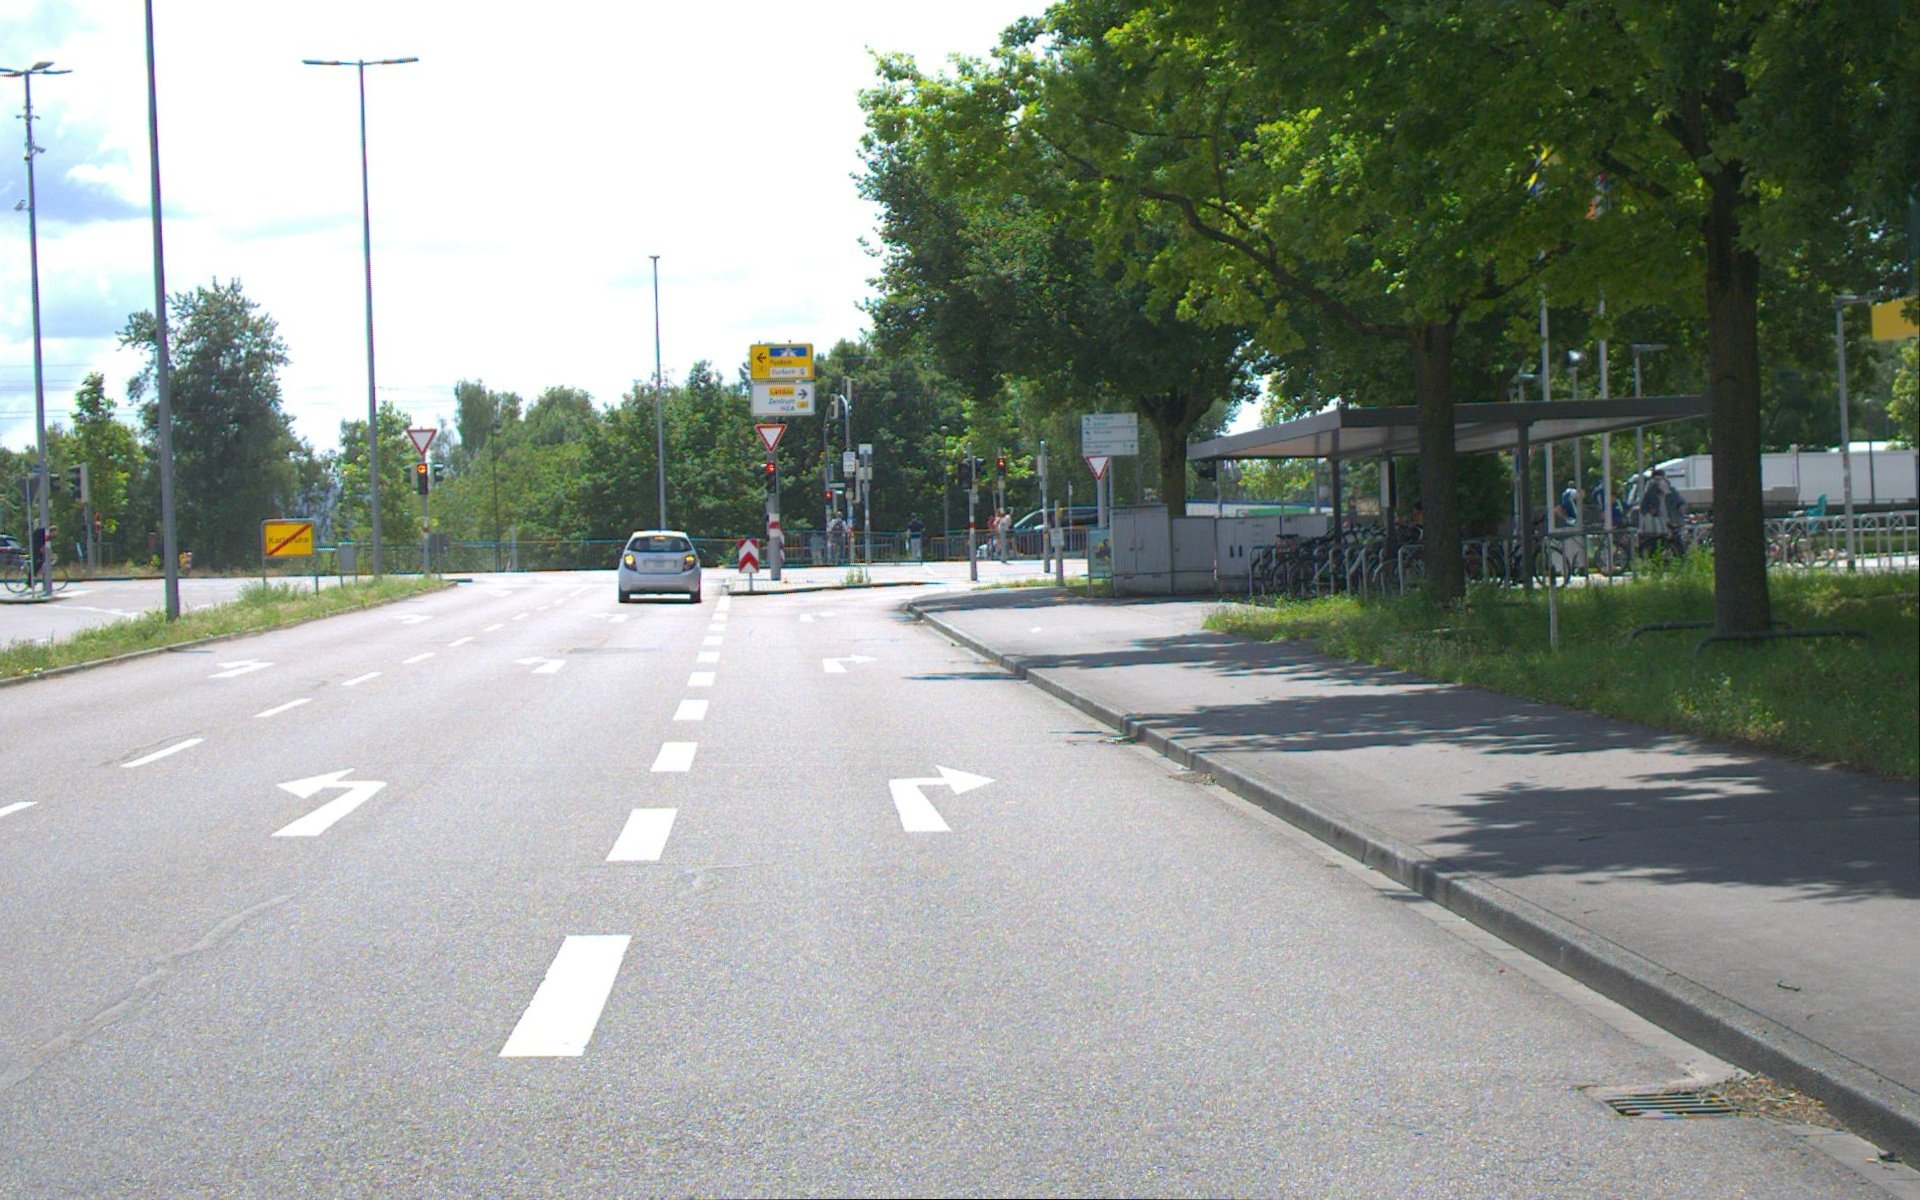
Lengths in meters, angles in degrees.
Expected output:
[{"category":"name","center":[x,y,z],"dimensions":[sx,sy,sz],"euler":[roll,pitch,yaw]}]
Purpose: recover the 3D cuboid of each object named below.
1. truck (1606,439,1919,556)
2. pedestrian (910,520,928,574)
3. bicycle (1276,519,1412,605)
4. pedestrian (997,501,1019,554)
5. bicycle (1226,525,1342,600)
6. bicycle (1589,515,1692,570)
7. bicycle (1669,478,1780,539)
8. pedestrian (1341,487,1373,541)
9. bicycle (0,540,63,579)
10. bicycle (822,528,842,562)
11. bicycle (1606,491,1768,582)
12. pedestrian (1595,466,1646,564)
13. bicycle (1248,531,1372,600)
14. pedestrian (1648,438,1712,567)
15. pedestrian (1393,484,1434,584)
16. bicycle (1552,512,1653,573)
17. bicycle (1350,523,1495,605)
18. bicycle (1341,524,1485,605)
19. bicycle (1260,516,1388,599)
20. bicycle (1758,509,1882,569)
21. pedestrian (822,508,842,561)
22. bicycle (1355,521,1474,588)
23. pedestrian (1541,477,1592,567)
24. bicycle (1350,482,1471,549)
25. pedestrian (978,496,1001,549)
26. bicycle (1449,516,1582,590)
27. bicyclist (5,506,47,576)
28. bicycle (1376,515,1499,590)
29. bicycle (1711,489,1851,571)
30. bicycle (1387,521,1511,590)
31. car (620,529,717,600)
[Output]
[{"category":"truck","center":[30.791,-3.905,130.340],"dimensions":[11.956,4.090,2.953],"euler":[-2,1,-3]},{"category":"pedestrian","center":[-1.323,-1.709,111.279],"dimensions":[0.523,1.715,0.730],"euler":[-2,1,0]},{"category":"bicycle","center":[5.681,-0.564,50.868],"dimensions":[1.896,1.166,0.424],"euler":[-3,1,-2]},{"category":"pedestrian","center":[1.599,-2.410,113.945],"dimensions":[0.676,1.742,0.637],"euler":[-1,3,-1]},{"category":"bicycle","center":[5.462,-0.641,58.028],"dimensions":[1.861,1.183,0.424],"euler":[-3,1,-8]},{"category":"bicycle","center":[13.151,-1.109,66.436],"dimensions":[1.862,0.991,0.424],"euler":[-2,1,-1]},{"category":"bicycle","center":[13.755,-1.645,61.874],"dimensions":[1.861,0.991,0.424],"euler":[-4,0,-8]},{"category":"pedestrian","center":[13.318,-2.880,115.361],"dimensions":[0.926,1.801,0.736],"euler":[-2,1,-4]},{"category":"bicycle","center":[-25.233,-1.095,92.496],"dimensions":[2.017,0.996,0.622],"euler":[1,1,-3]},{"category":"bicycle","center":[-4.277,-1.843,115.051],"dimensions":[0.619,1.083,1.722],"euler":[-2,1,-1]},{"category":"bicycle","center":[9.759,-0.855,46.194],"dimensions":[2.012,1.104,0.576],"euler":[-3,1,35]},{"category":"pedestrian","center":[14.251,-1.828,74.164],"dimensions":[1.008,2.065,0.973],"euler":[-2,0,11]},{"category":"bicycle","center":[5.551,-0.550,54.531],"dimensions":[1.861,0.991,0.424],"euler":[-3,1,-8]},{"category":"pedestrian","center":[9.815,-1.325,46.866],"dimensions":[0.634,1.716,0.523],"euler":[-3,0,33]},{"category":"pedestrian","center":[7.619,-1.111,57.791],"dimensions":[0.544,1.656,0.478],"euler":[-2,1,-5]},{"category":"bicycle","center":[12.633,-1.132,67.621],"dimensions":[1.919,1.104,0.504],"euler":[-3,-1,-21]},{"category":"bicycle","center":[6.311,-0.491,46.967],"dimensions":[1.861,0.991,0.424],"euler":[-4,1,-8]},{"category":"bicycle","center":[6.250,-0.495,47.454],"dimensions":[1.861,0.991,0.424],"euler":[-4,1,-8]},{"category":"bicycle","center":[5.619,-0.664,53.094],"dimensions":[1.861,1.183,0.424],"euler":[-3,1,-8]},{"category":"bicycle","center":[13.951,-0.996,55.775],"dimensions":[1.861,0.878,0.471],"euler":[-3,1,-3]},{"category":"pedestrian","center":[-4.283,-2.201,115.008],"dimensions":[0.611,1.763,0.672],"euler":[-2,1,-2]},{"category":"bicycle","center":[7.539,-0.754,57.040],"dimensions":[1.862,1.030,0.424],"euler":[-2,1,-2]},{"category":"pedestrian","center":[13.016,-1.667,73.797],"dimensions":[1.008,1.895,0.973],"euler":[-2,0,11]},{"category":"bicycle","center":[7.307,-1.364,55.760],"dimensions":[1.861,0.991,0.424],"euler":[-3,1,-8]},{"category":"pedestrian","center":[0.980,-2.584,114.785],"dimensions":[0.706,1.715,0.601],"euler":[-2,1,-1]},{"category":"bicycle","center":[8.266,-0.698,51.178],"dimensions":[1.861,0.991,0.424],"euler":[-4,0,-8]},{"category":"bicyclist","center":[-25.120,-1.589,92.500],"dimensions":[0.921,1.840,0.611],"euler":[-2,2,-4]},{"category":"bicycle","center":[7.651,-0.767,55.129],"dimensions":[1.861,1.112,0.424],"euler":[-3,1,-8]},{"category":"bicycle","center":[13.583,-1.162,56.919],"dimensions":[2.140,1.225,0.721],"euler":[-3,1,7]},{"category":"bicycle","center":[7.746,-0.703,54.484],"dimensions":[1.861,0.991,0.424],"euler":[-3,0,-8]},{"category":"car","center":[-6.146,-0.770,72.788],"dimensions":[1.894,1.465,3.834],"euler":[0,1,-3]}]
